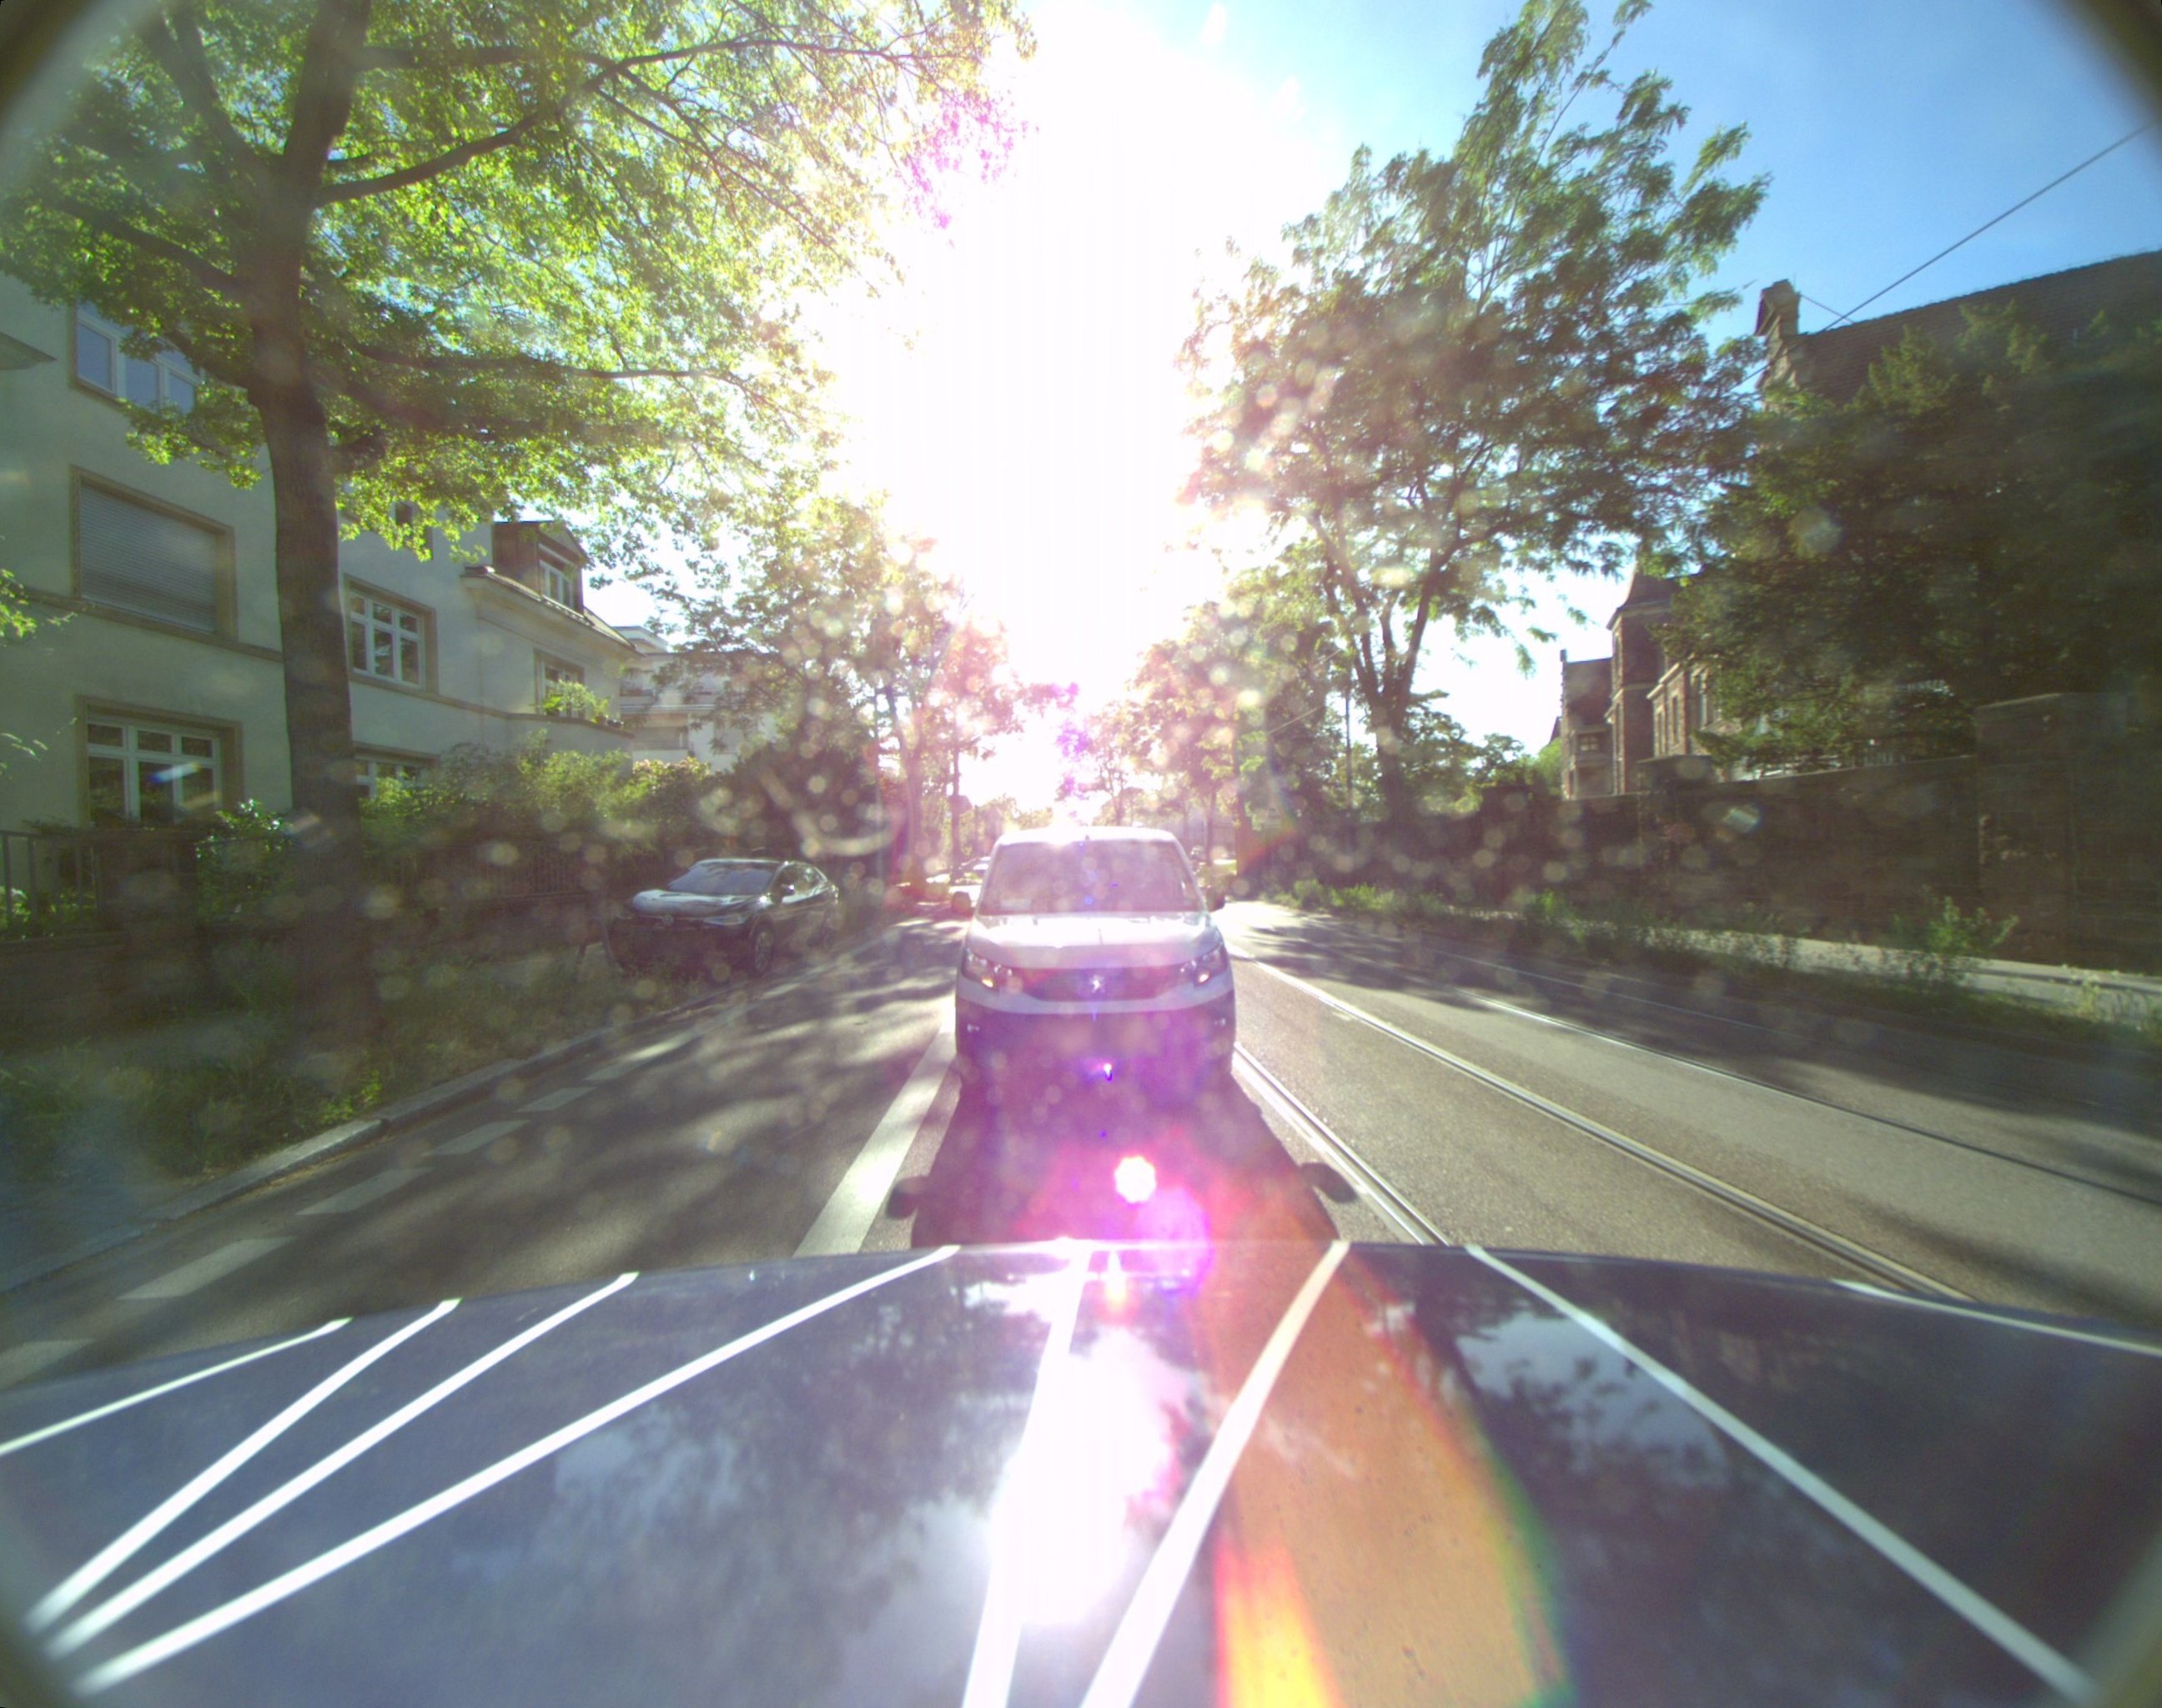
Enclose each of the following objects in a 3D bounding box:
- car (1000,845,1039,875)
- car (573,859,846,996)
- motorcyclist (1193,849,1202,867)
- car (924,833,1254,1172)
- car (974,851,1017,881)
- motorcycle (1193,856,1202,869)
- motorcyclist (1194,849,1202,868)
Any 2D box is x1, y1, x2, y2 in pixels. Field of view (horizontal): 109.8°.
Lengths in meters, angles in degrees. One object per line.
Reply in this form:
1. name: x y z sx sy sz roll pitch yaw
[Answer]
1. car: -4.156 0.379 51.956 2.129 1.884 4.746 -2 0 1
2. car: -5.248 0.934 11.551 1.999 1.665 4.380 1 -1 0
3. motorcyclist: 9.461 0.347 61.745 0.685 1.432 0.446 -2 1 5
4. car: 0.038 0.799 6.112 1.768 1.812 3.999 -1 0 0
5. car: -5.038 0.661 45.224 1.823 1.630 4.001 -2 0 4
6. motorcycle: 9.475 0.682 61.798 0.610 1.087 1.857 -2 0 5
7. motorcyclist: 9.421 0.328 61.255 0.608 1.507 0.466 -2 1 4
